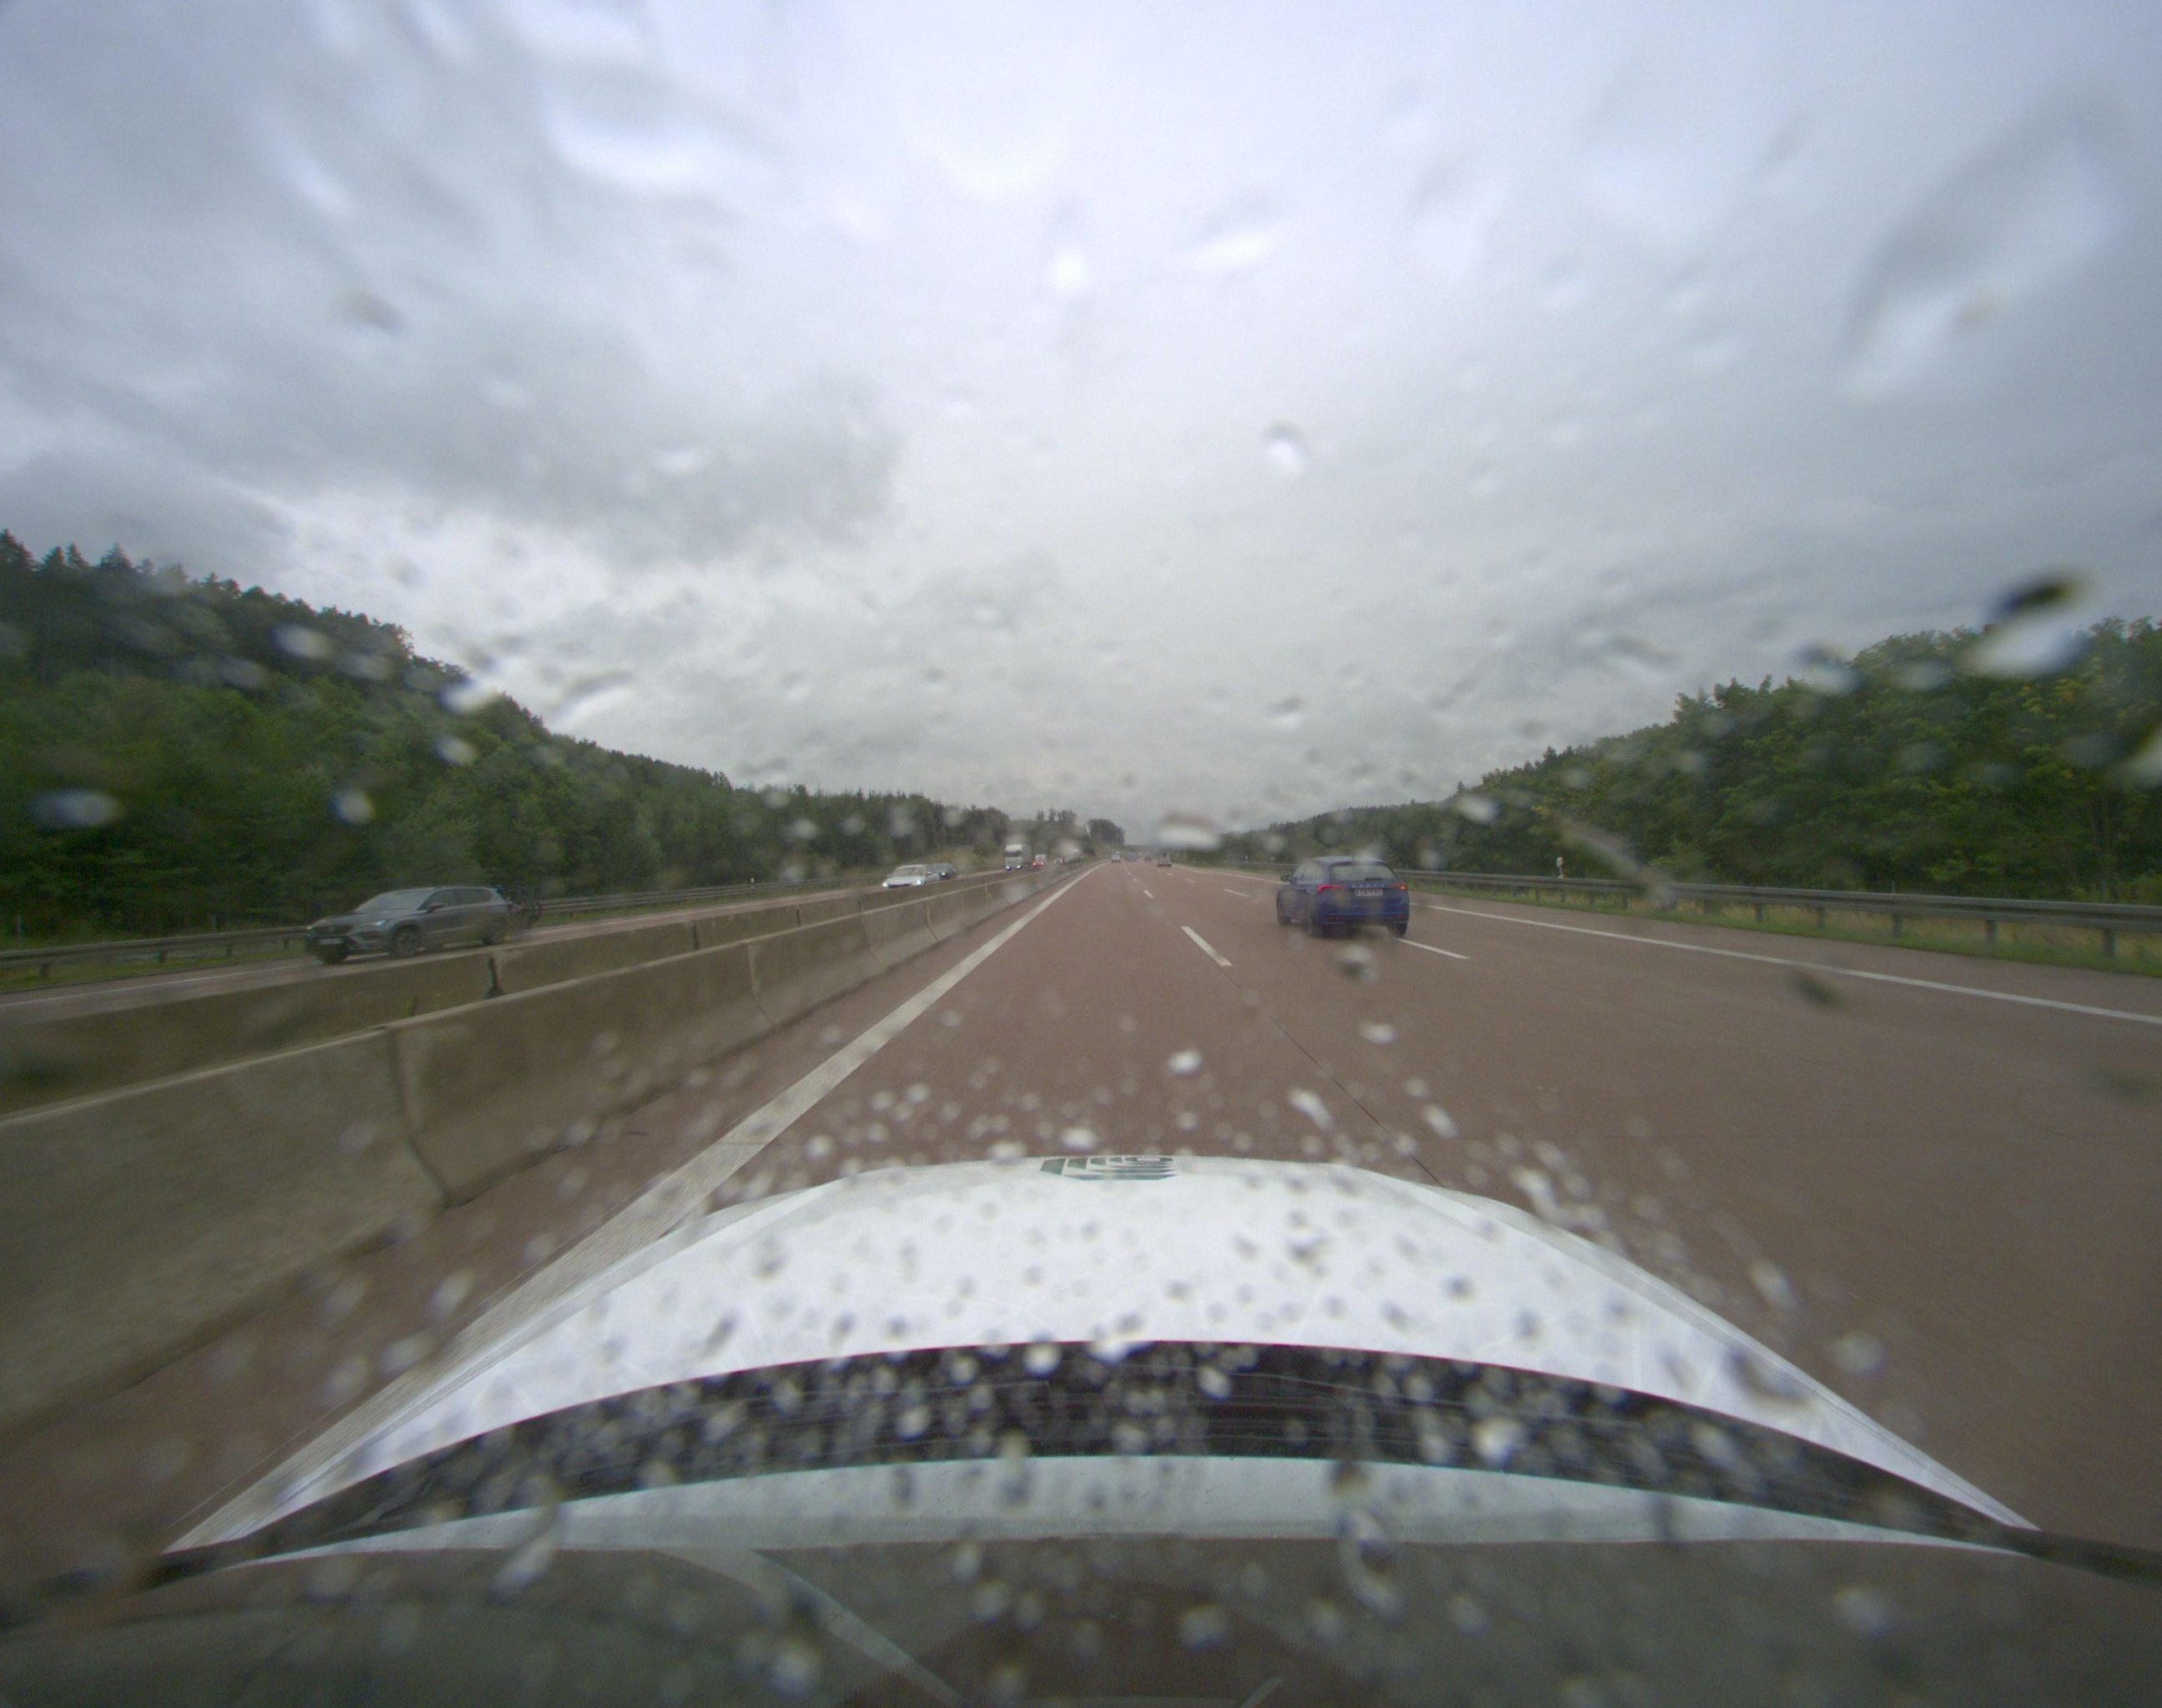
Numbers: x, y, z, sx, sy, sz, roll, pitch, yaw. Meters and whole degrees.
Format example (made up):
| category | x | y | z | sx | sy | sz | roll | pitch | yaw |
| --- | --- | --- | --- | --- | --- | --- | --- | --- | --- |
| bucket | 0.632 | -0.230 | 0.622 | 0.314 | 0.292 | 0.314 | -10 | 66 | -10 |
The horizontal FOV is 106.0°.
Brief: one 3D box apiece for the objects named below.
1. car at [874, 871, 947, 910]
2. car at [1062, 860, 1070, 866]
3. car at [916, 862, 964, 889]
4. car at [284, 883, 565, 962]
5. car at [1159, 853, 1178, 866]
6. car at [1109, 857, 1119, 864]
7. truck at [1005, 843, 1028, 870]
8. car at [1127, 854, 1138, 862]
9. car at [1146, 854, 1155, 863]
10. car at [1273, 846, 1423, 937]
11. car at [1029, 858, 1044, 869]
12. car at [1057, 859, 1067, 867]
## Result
| category | x | y | z | sx | sy | sz | roll | pitch | yaw |
| --- | --- | --- | --- | --- | --- | --- | --- | --- | --- |
| car | -7.333 | 1.540 | 35.613 | 1.986 | 1.560 | 4.948 | 0 | -1 | 2 |
| car | -4.477 | 2.607 | 238.425 | 1.985 | 1.575 | 4.527 | -2 | -1 | 3 |
| car | -10.142 | 1.531 | 59.096 | 2.271 | 1.861 | 5.730 | 0 | -1 | 2 |
| car | -15.605 | 1.549 | 19.975 | 1.985 | 1.560 | 5.748 | 0 | -1 | 3 |
| car | 12.404 | 0.781 | 115.719 | 2.315 | 1.750 | 4.876 | 0 | -1 | 0 |
| car | 6.828 | 1.297 | 169.000 | 1.867 | 1.444 | 4.877 | 0 | -1 | 1 |
| truck | -10.488 | 0.401 | 132.408 | 2.758 | 4.176 | 6.004 | -3 | -1 | 2 |
| car | 11.974 | 1.016 | 188.536 | 2.315 | 1.750 | 4.876 | 0 | -1 | 0 |
| car | 17.194 | 1.077 | 201.986 | 1.987 | 2.014 | 3.999 | 0 | -1 | 0 |
| car | 5.084 | 0.694 | 16.090 | 1.764 | 1.564 | 4.148 | 0 | -1 | 2 |
| car | -6.962 | 1.463 | 127.918 | 1.986 | 1.545 | 4.282 | -3 | -1 | 2 |
| car | -4.025 | 1.897 | 173.626 | 1.685 | 1.557 | 5.680 | -3 | 0 | 2 |
